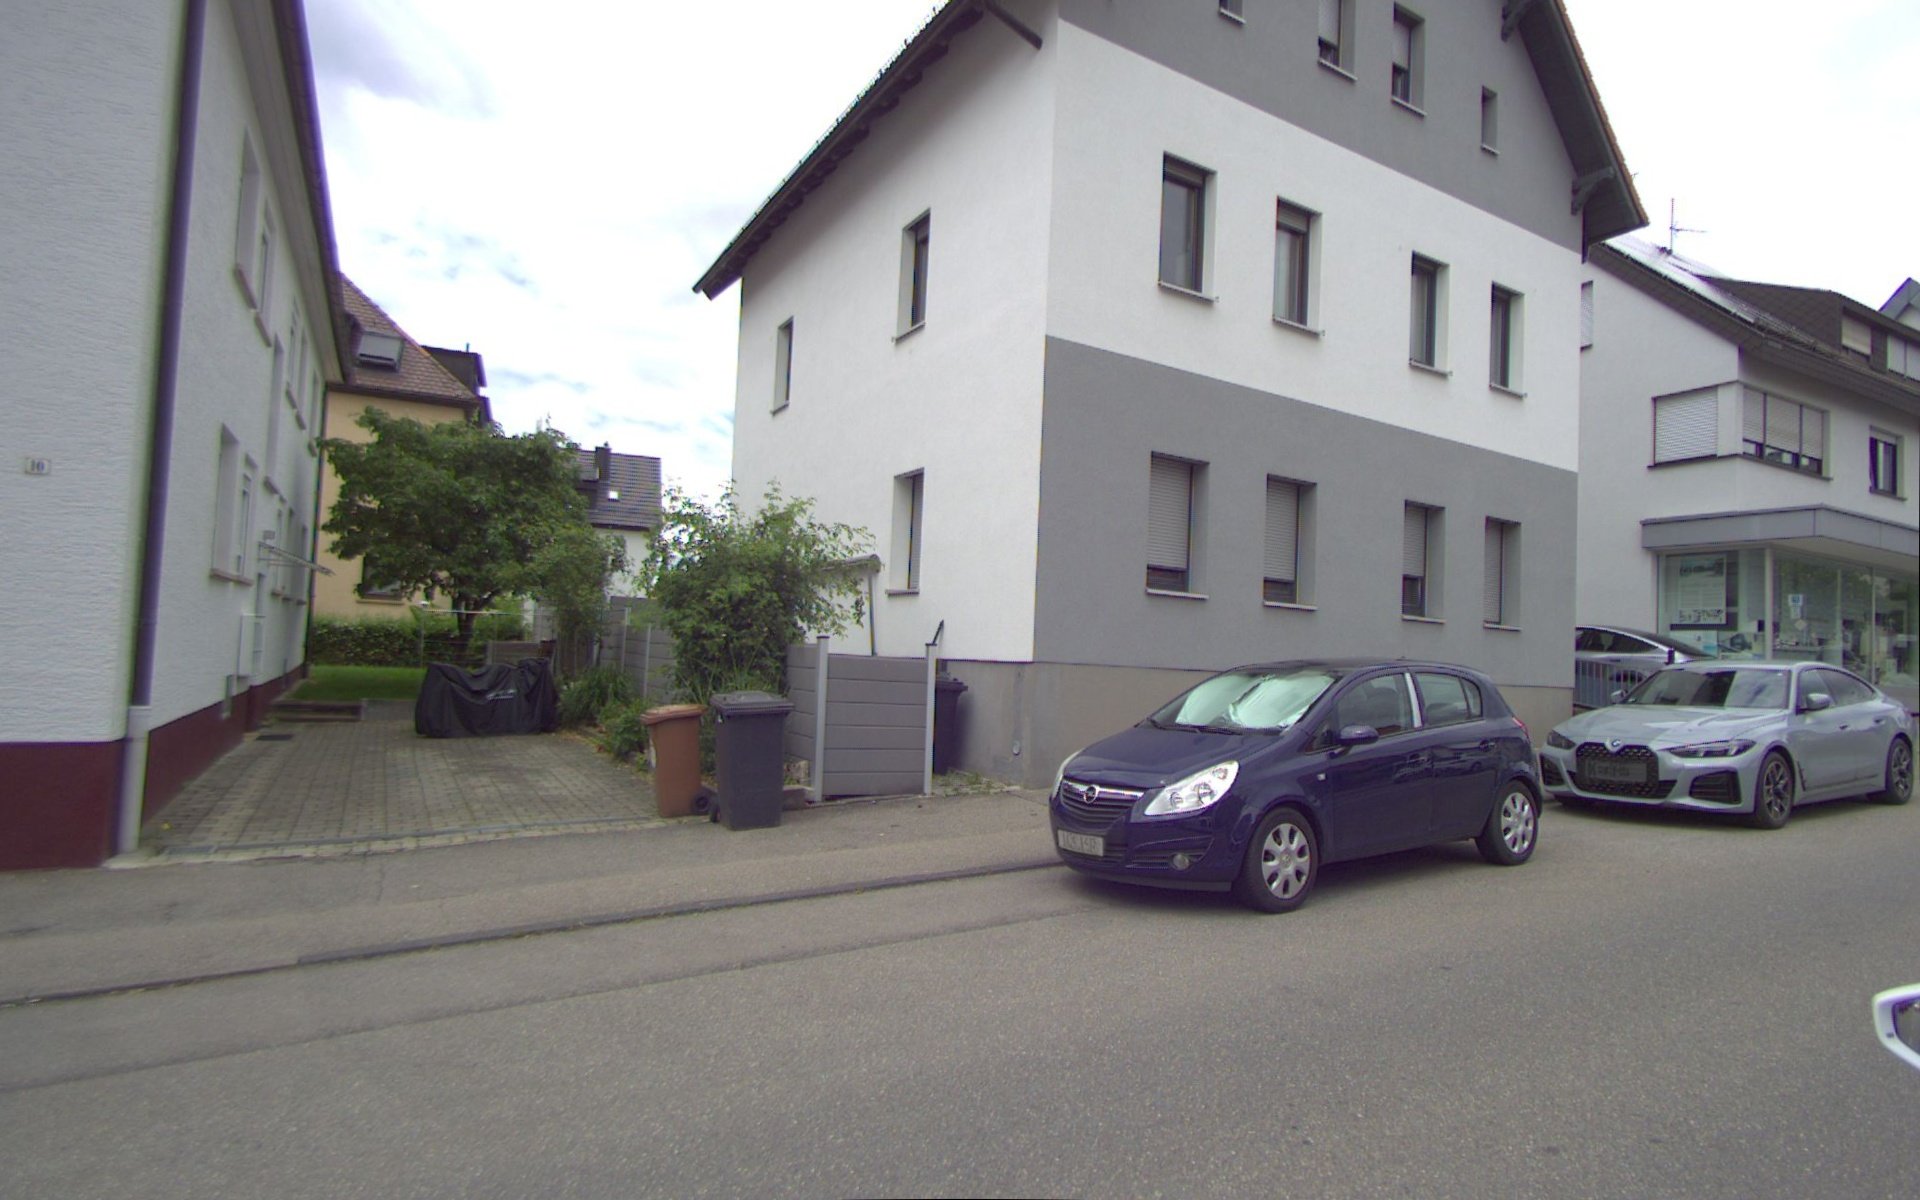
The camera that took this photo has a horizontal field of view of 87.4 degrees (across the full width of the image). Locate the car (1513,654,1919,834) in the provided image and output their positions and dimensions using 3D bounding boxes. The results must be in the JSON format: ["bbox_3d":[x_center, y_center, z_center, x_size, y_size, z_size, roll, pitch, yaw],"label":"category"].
[{"bbox_3d":[7.781,1.298,10.174,4.416,1.464,1.829,2,-4,-31],"label":"car"}]

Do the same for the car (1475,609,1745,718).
[{"bbox_3d":[12.502,1.208,19.593,1.975,1.880,3.973,2,-3,-27],"label":"car"}]

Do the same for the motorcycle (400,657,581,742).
[{"bbox_3d":[-6.682,1.382,14.401,0.763,1.062,2.219,1,0,43],"label":"motorcycle"}]

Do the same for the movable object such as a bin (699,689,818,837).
[{"bbox_3d":[-1.636,1.281,8.128,0.750,1.059,0.674,2,0,-30],"label":"movable object such as a bin"}]

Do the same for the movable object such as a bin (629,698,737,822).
[{"bbox_3d":[-2.404,1.360,8.711,0.750,0.903,0.674,-1,1,-30],"label":"movable object such as a bin"}]

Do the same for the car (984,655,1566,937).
[{"bbox_3d":[2.309,1.138,7.126,3.957,1.464,1.828,2,-4,-33],"label":"car"}]

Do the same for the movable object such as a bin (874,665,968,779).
[{"bbox_3d":[-0.431,1.293,10.901,0.755,1.127,0.722,2,0,-30],"label":"movable object such as a bin"}]
